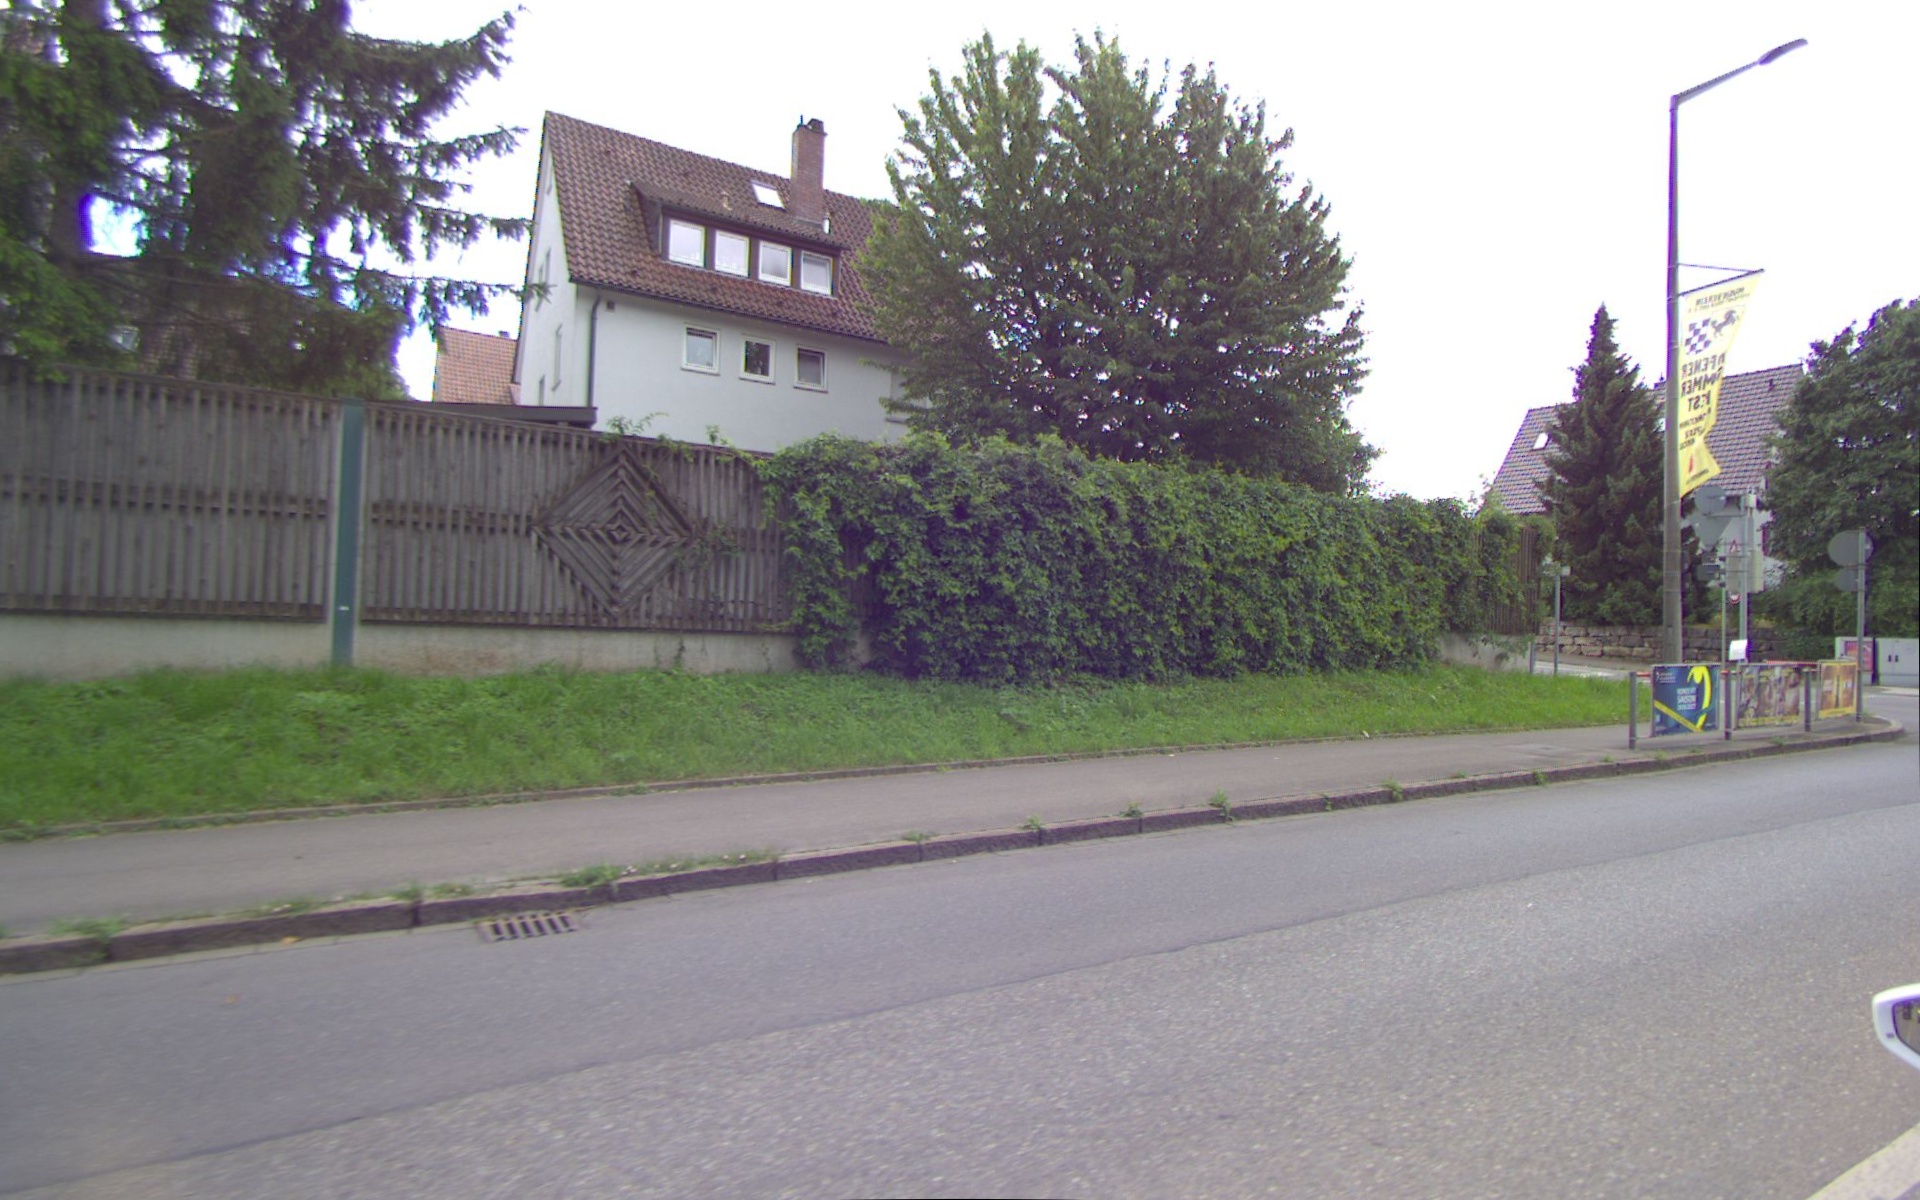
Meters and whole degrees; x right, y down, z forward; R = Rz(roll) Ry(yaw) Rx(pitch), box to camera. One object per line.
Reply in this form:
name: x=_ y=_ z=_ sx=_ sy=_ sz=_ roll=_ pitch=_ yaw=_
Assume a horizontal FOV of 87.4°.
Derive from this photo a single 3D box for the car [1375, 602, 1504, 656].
car: x=17.611 y=1.044 z=37.067 sx=1.821 sy=1.620 sz=3.873 roll=2 pitch=3 yaw=-31
